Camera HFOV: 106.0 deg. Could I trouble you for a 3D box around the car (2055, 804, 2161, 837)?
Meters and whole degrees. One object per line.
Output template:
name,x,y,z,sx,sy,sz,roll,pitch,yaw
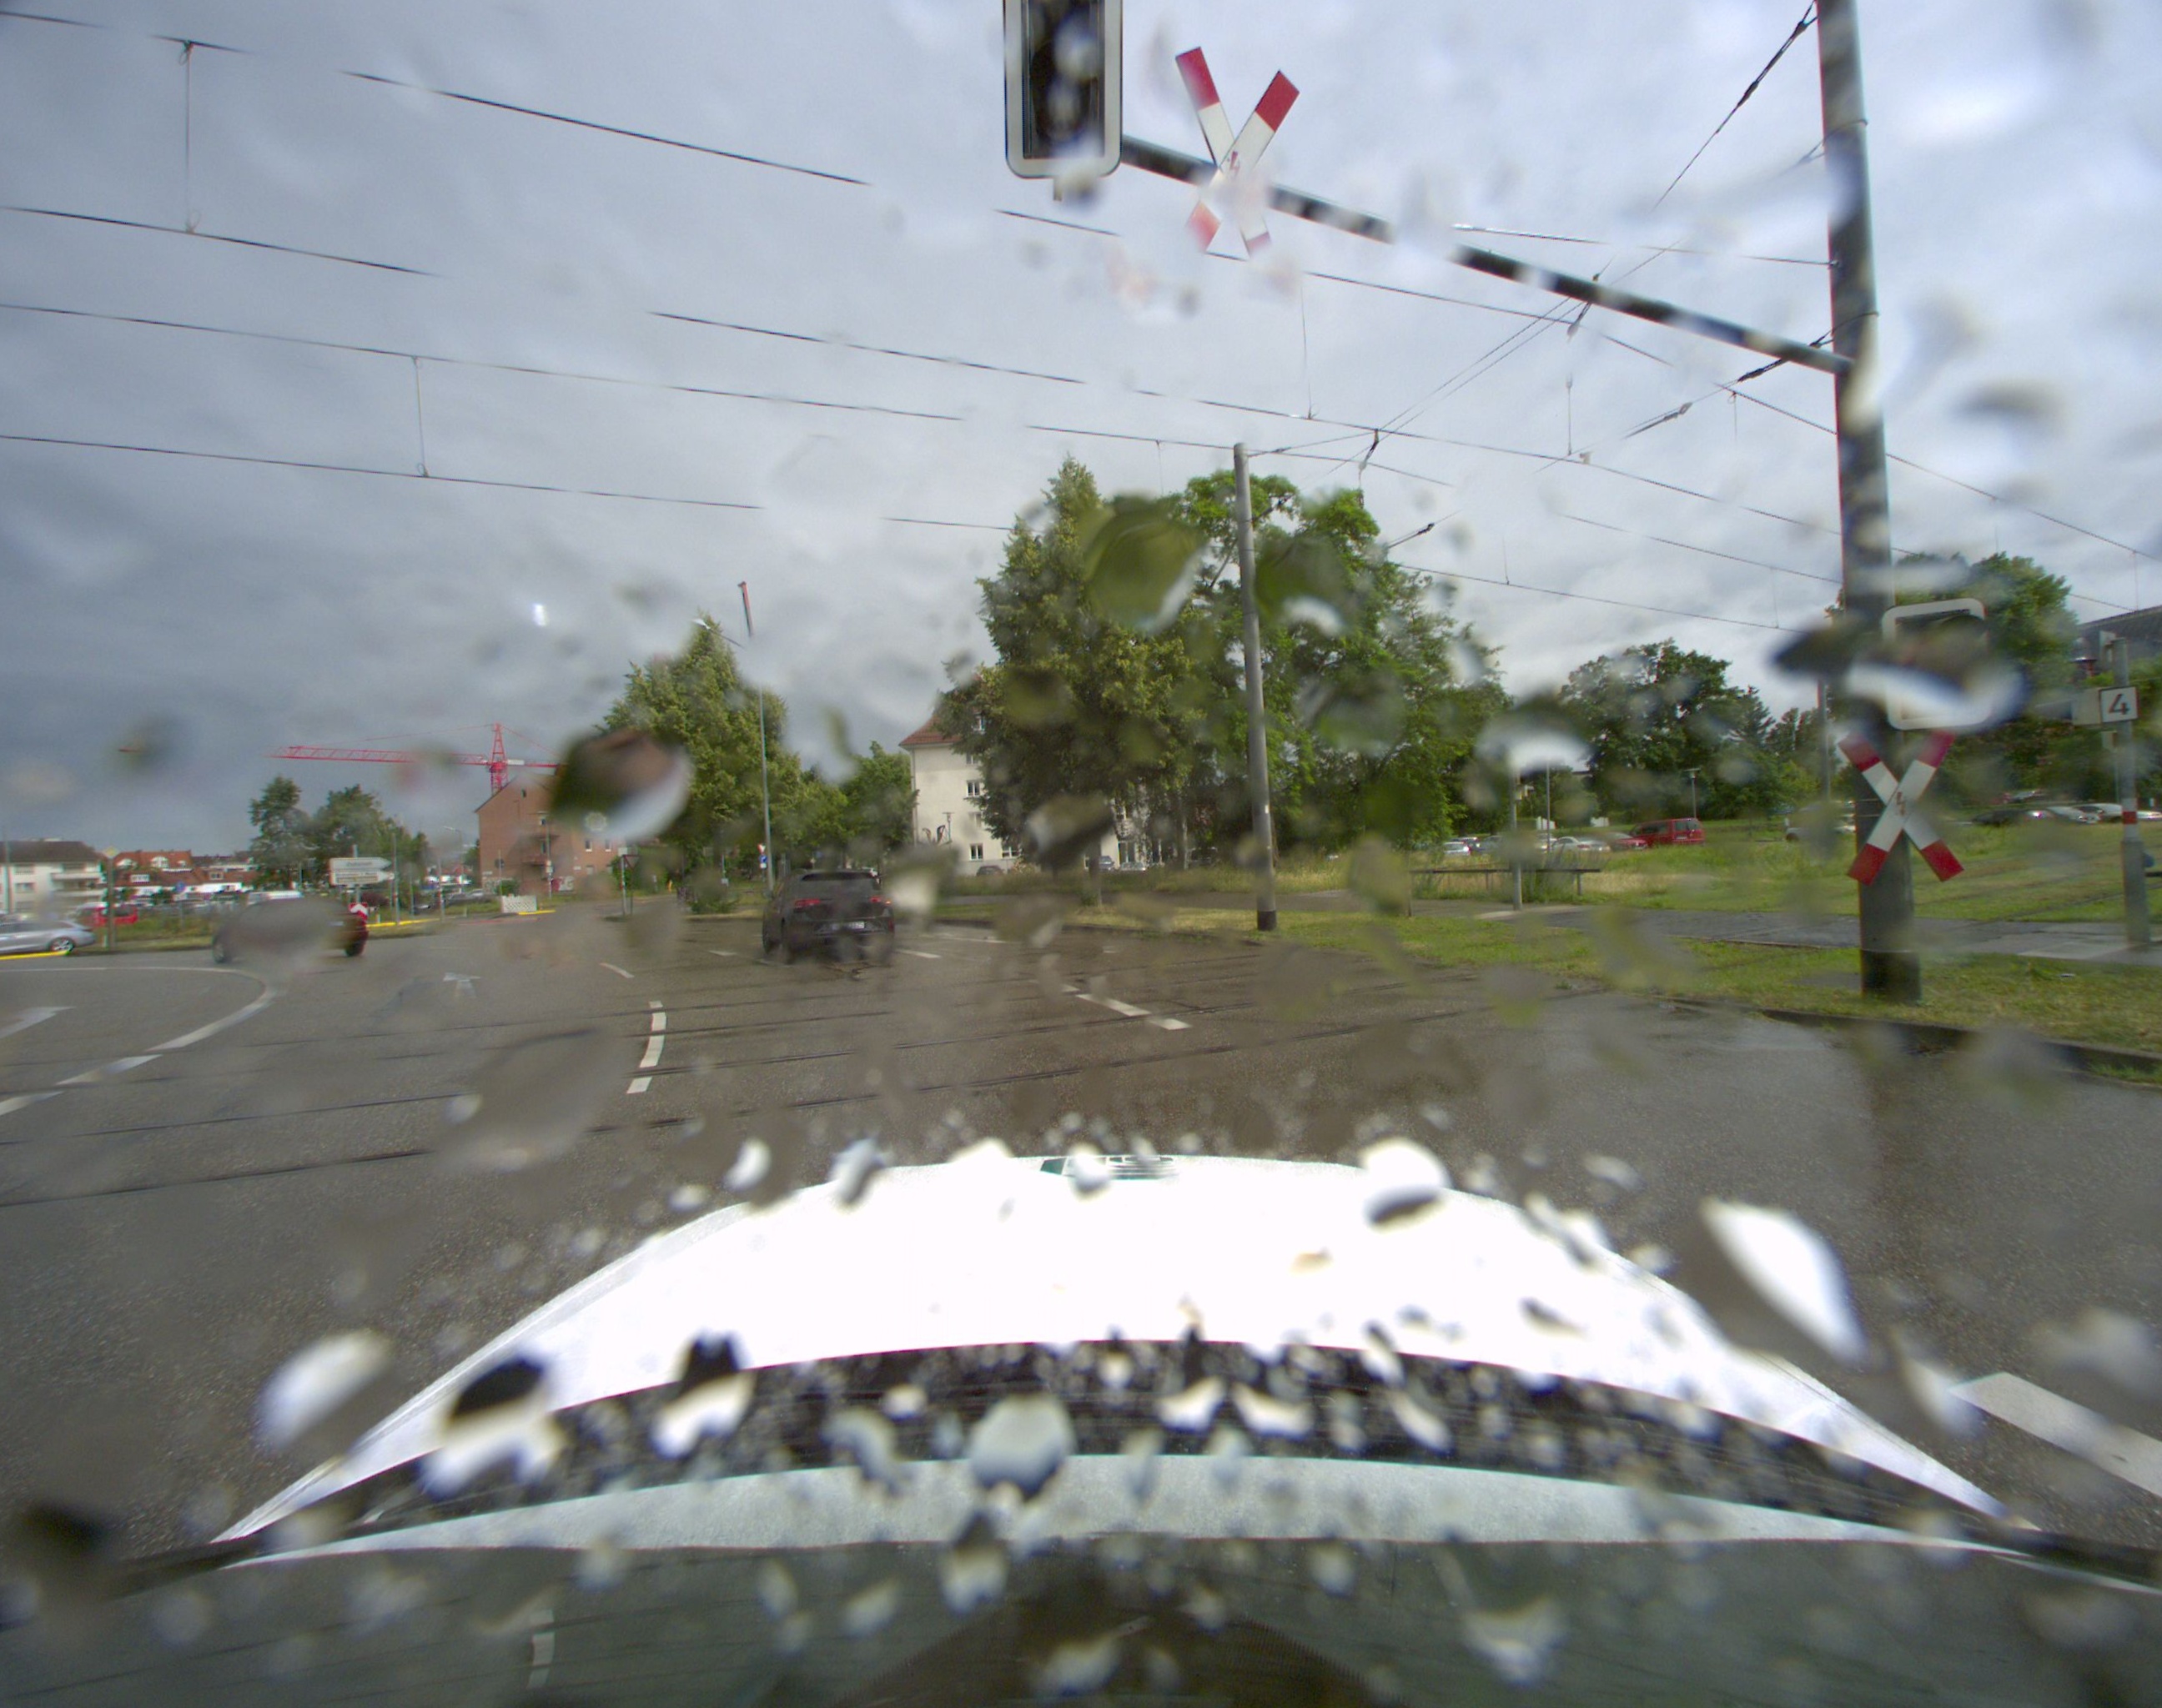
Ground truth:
car,57.260,-1.827,45.082,1.838,1.559,3.979,-3,-1,1

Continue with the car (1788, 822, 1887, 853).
car,42.089,-0.904,45.460,1.787,1.528,4.000,-3,-1,1

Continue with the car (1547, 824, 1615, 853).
car,27.486,-0.833,44.883,1.633,1.462,3.614,-3,0,3

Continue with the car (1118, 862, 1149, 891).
car,2.934,1.231,45.623,1.596,1.510,3.624,-3,-1,4

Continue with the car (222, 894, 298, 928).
car,-56.517,3.874,56.040,6.186,2.085,2.056,-1,0,29

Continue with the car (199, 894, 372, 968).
car,-18.980,1.835,19.422,3.949,1.462,1.731,-4,0,27

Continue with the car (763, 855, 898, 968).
car,-4.664,0.939,14.778,1.906,1.617,3.970,-4,0,-22

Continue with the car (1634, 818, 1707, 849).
car,32.511,-1.086,45.020,1.636,1.510,3.656,-3,0,6

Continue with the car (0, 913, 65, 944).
car,-65.239,4.559,50.298,3.954,1.700,1.867,-1,0,20

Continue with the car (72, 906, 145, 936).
car,-61.709,4.231,51.684,3.951,1.700,1.941,-1,0,24

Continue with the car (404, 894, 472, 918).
car,-53.432,4.285,67.730,1.596,1.632,4.085,-4,0,33

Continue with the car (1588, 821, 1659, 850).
car,30.001,-0.999,45.140,1.633,1.462,3.614,-3,0,3

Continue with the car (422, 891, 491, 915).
car,-51.039,3.994,66.600,1.596,1.632,4.085,-4,0,33

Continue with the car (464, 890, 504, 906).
car,-67.317,4.950,91.837,3.536,1.519,1.599,-3,0,-35

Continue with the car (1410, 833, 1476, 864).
car,19.804,-0.276,44.789,1.838,1.559,3.979,-3,-1,1

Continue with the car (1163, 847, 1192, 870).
car,6.757,0.268,57.227,1.652,1.345,3.584,-3,2,2

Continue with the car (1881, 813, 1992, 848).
car,47.320,-1.250,45.179,1.986,1.714,4.002,-3,-1,2

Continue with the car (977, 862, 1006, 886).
car,-6.216,1.372,56.879,1.666,1.482,3.736,-3,0,-2

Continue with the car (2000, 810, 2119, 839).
car,54.517,-1.616,45.473,1.838,1.308,3.979,-3,-1,1

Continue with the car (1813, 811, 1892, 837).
car,54.543,-2.097,57.701,1.787,1.528,4.000,-3,-1,1

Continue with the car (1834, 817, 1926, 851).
car,44.434,-1.083,45.381,1.540,1.660,3.629,-3,-1,1

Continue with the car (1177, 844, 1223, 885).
car,6.620,0.519,45.793,2.097,2.057,5.168,-4,0,5

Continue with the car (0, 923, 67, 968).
car,-42.168,3.622,31.324,1.581,1.560,3.569,-3,0,21

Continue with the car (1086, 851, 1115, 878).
car,1.336,0.692,56.946,1.840,1.552,4.105,-3,2,-1
